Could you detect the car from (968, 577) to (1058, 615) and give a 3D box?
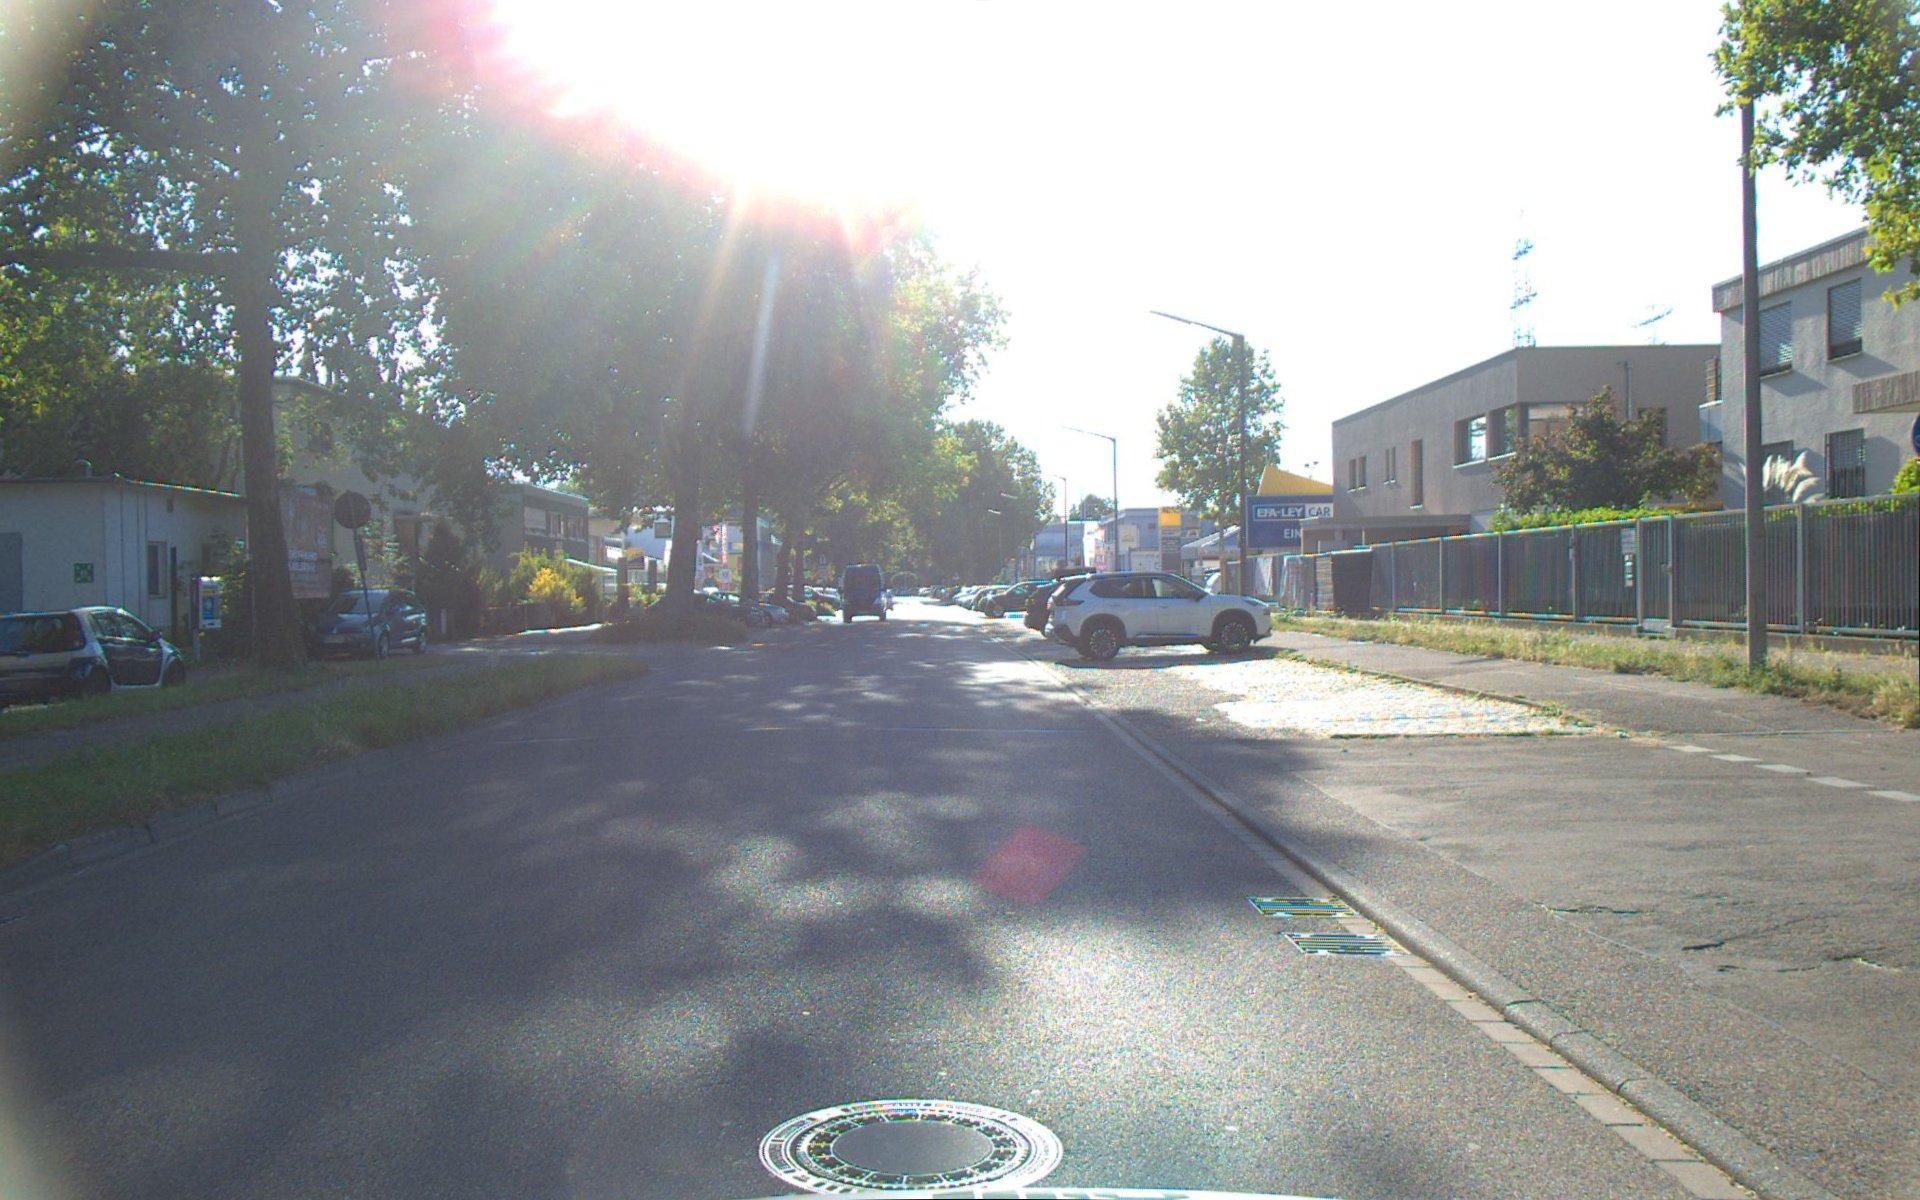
[{"bbox_3d":[2.778,-0.215,87.254,4.509,1.641,1.999,-4,0,-2],"label":"car"}]

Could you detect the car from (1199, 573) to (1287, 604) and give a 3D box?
[{"bbox_3d":[13.995,-0.558,81.888,3.910,1.523,1.998,0,0,-6],"label":"car"}]

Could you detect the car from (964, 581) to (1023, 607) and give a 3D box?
[{"bbox_3d":[2.360,-0.403,116.394,3.910,1.615,1.865,-3,0,-5],"label":"car"}]

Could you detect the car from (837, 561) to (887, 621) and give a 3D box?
[{"bbox_3d":[-4.626,-0.495,79.002,2.084,2.705,7.000,-2,1,-1],"label":"car"}]

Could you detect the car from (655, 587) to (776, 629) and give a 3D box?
[{"bbox_3d":[-9.068,0.272,61.571,4.267,1.447,1.999,-1,1,-4],"label":"car"}]

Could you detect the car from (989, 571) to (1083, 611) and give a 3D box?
[{"bbox_3d":[3.752,-0.454,82.020,4.507,1.607,2.000,-4,0,1],"label":"car"}]

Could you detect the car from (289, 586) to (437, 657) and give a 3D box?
[{"bbox_3d":[-14.144,0.481,39.434,1.952,1.603,4.273,0,0,0],"label":"car"}]

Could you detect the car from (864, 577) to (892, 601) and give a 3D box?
[{"bbox_3d":[-5.740,-0.762,116.425,1.801,1.598,3.801,-3,0,-2],"label":"car"}]

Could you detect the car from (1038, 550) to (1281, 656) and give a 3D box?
[{"bbox_3d":[4.000,0.053,33.702,4.533,1.741,1.999,-4,0,-3],"label":"car"}]

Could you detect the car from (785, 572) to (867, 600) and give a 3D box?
[{"bbox_3d":[-7.070,-0.732,87.594,4.209,1.472,1.999,0,0,-2],"label":"car"}]

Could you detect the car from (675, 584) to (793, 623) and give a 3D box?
[{"bbox_3d":[-9.160,0.142,67.302,4.507,1.447,2.000,-1,1,-2],"label":"car"}]

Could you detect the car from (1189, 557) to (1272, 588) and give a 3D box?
[{"bbox_3d":[13.921,-1.409,85.268,3.910,1.545,1.951,0,0,-6],"label":"car"}]

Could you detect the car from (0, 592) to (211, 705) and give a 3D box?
[{"bbox_3d":[-12.753,0.674,24.232,1.956,1.393,3.916,-6,1,-6],"label":"car"}]

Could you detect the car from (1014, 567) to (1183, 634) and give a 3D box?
[{"bbox_3d":[3.943,0.009,47.620,4.533,1.553,1.999,-4,0,-3],"label":"car"}]
